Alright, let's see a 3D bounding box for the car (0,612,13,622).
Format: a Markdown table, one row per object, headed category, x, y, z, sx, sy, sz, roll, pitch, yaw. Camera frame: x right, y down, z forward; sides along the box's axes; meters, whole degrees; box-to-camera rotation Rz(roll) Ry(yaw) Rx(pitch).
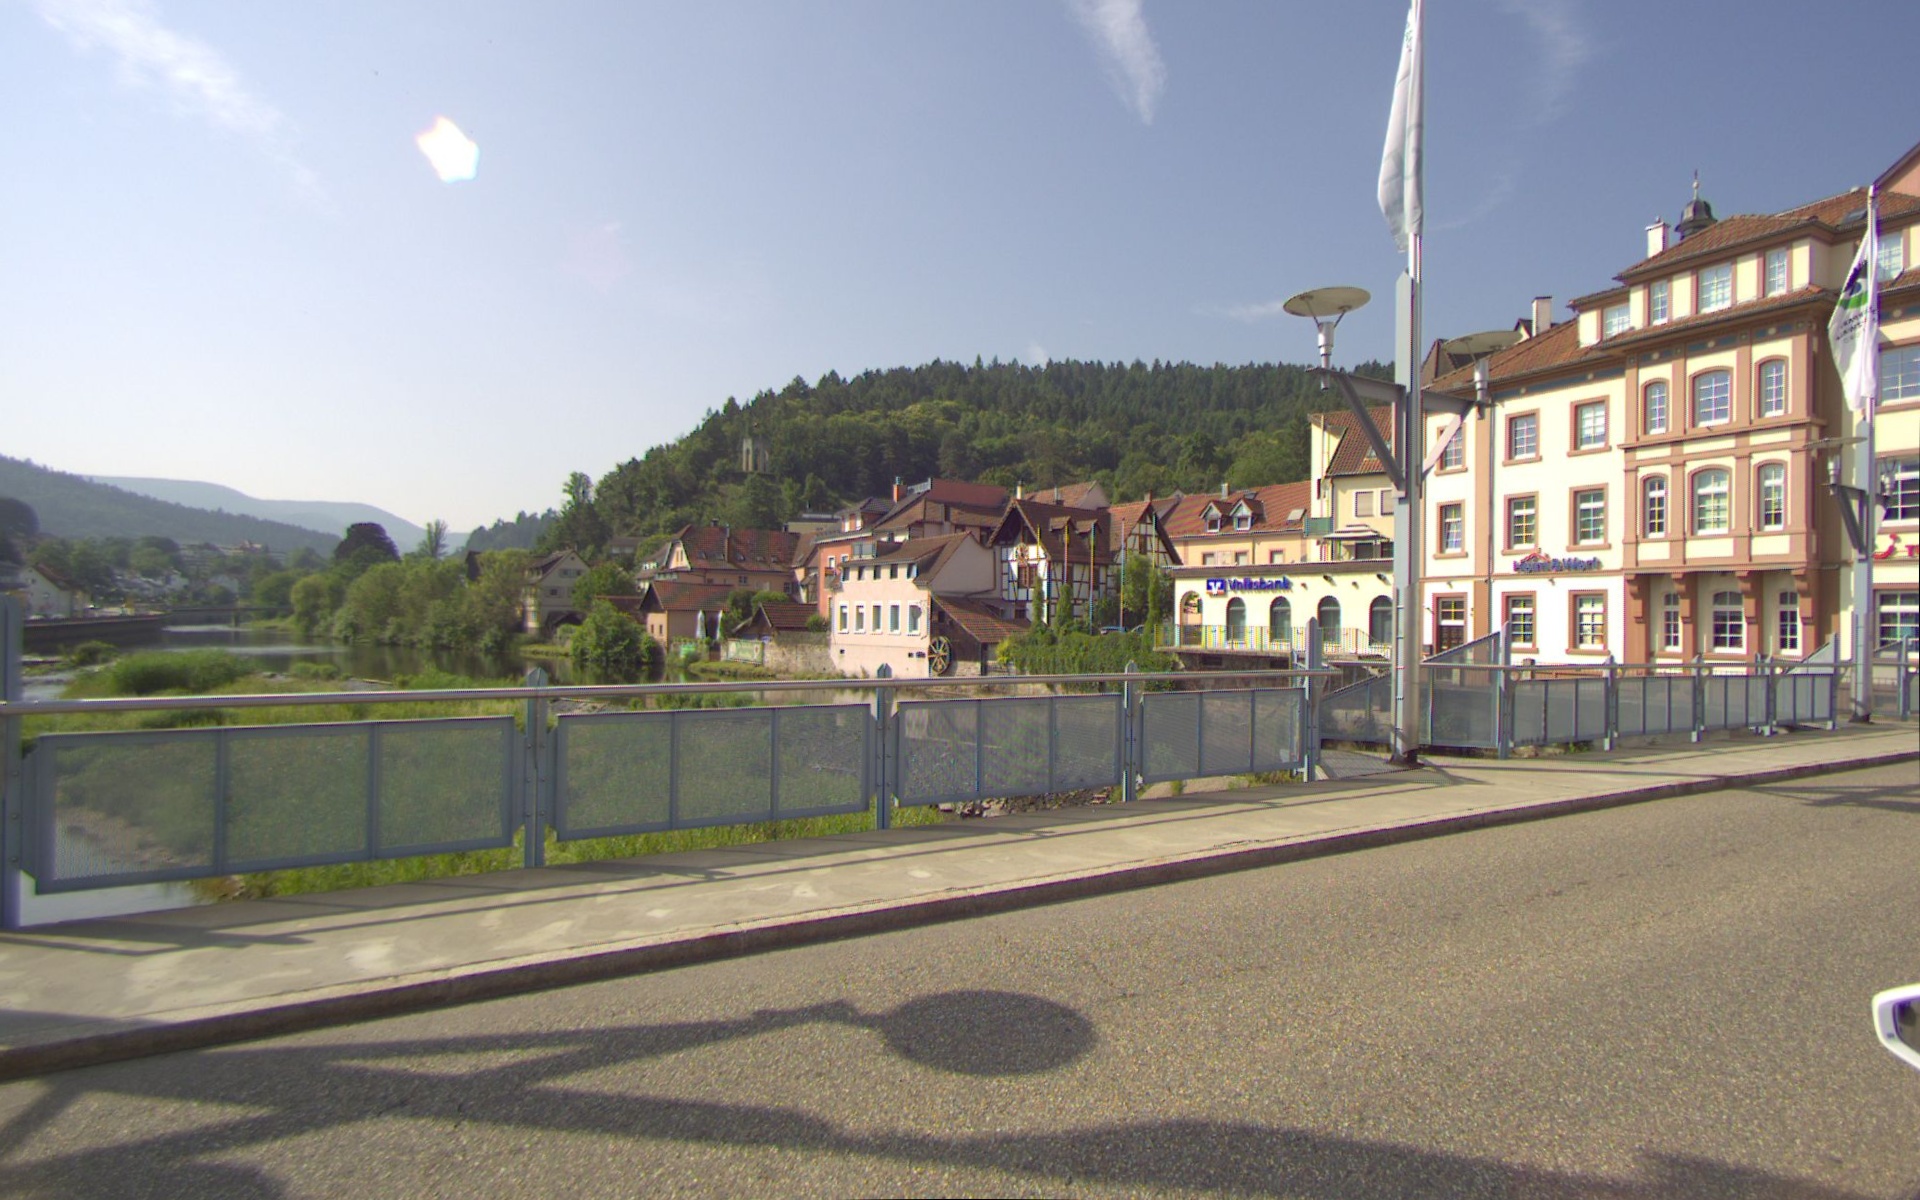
| category | x | y | z | sx | sy | sz | roll | pitch | yaw |
| --- | --- | --- | --- | --- | --- | --- | --- | --- | --- |
| car | -136.983 | 2.455 | 143.778 | 1.503 | 1.467 | 3.246 | 0 | -1 | -34 |
